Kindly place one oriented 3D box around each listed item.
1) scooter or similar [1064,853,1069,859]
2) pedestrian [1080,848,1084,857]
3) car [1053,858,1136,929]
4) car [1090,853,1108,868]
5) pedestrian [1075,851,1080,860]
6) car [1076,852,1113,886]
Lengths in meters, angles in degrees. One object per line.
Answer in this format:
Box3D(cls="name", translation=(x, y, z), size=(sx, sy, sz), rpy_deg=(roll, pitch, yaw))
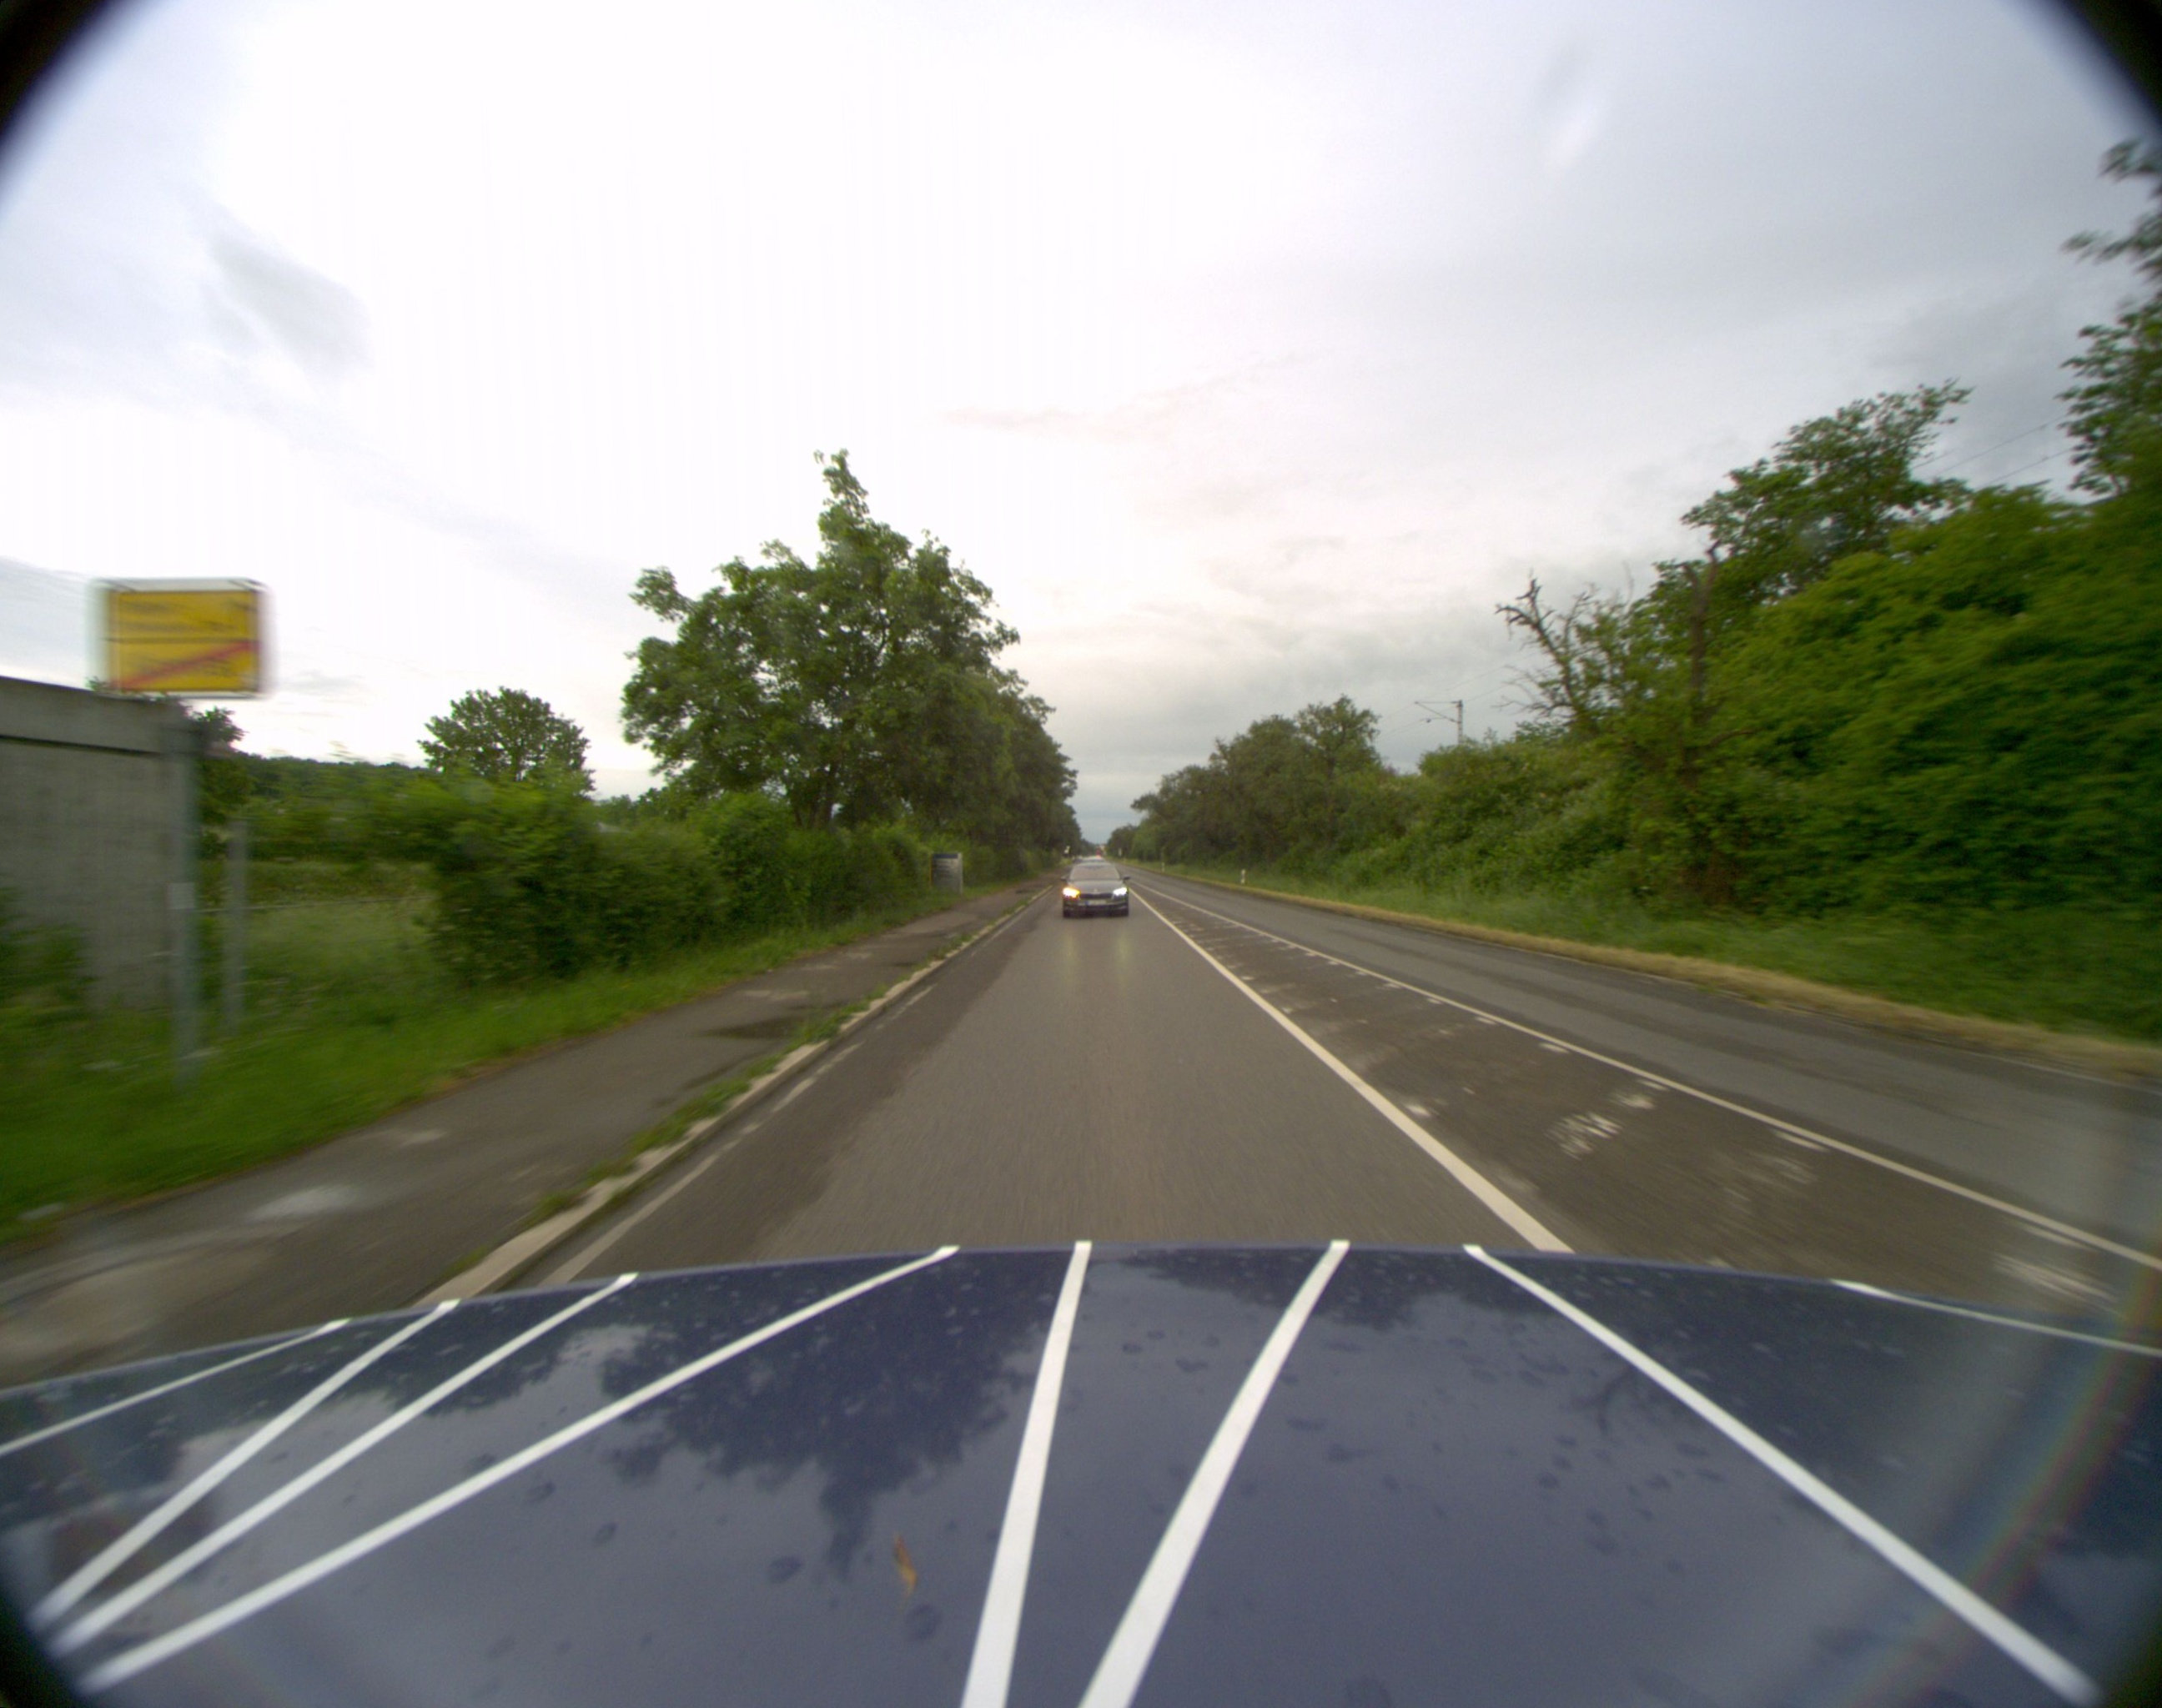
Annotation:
Box3D(cls="scooter or similar", translation=(-3.037, 0.361, 158.544), size=(1.323, 1.199, 0.375), rpy_deg=(1, 1, 42))
Box3D(cls="pedestrian", translation=(0.196, -0.282, 142.500), size=(0.696, 1.817, 0.800), rpy_deg=(0, 1, -16))
Box3D(cls="car", translation=(0.357, 0.954, 20.221), size=(1.915, 1.543, 4.354), rpy_deg=(-3, 1, 1))
Box3D(cls="car", translation=(2.045, 0.750, 86.111), size=(1.887, 1.543, 3.475), rpy_deg=(-3, 1, 1))
Box3D(cls="pedestrian", translation=(-0.633, 0.325, 143.431), size=(0.663, 1.768, 0.759), rpy_deg=(0, 1, -16))
Box3D(cls="car", translation=(0.735, 0.781, 41.972), size=(1.915, 1.691, 3.913), rpy_deg=(-3, 1, 1))
